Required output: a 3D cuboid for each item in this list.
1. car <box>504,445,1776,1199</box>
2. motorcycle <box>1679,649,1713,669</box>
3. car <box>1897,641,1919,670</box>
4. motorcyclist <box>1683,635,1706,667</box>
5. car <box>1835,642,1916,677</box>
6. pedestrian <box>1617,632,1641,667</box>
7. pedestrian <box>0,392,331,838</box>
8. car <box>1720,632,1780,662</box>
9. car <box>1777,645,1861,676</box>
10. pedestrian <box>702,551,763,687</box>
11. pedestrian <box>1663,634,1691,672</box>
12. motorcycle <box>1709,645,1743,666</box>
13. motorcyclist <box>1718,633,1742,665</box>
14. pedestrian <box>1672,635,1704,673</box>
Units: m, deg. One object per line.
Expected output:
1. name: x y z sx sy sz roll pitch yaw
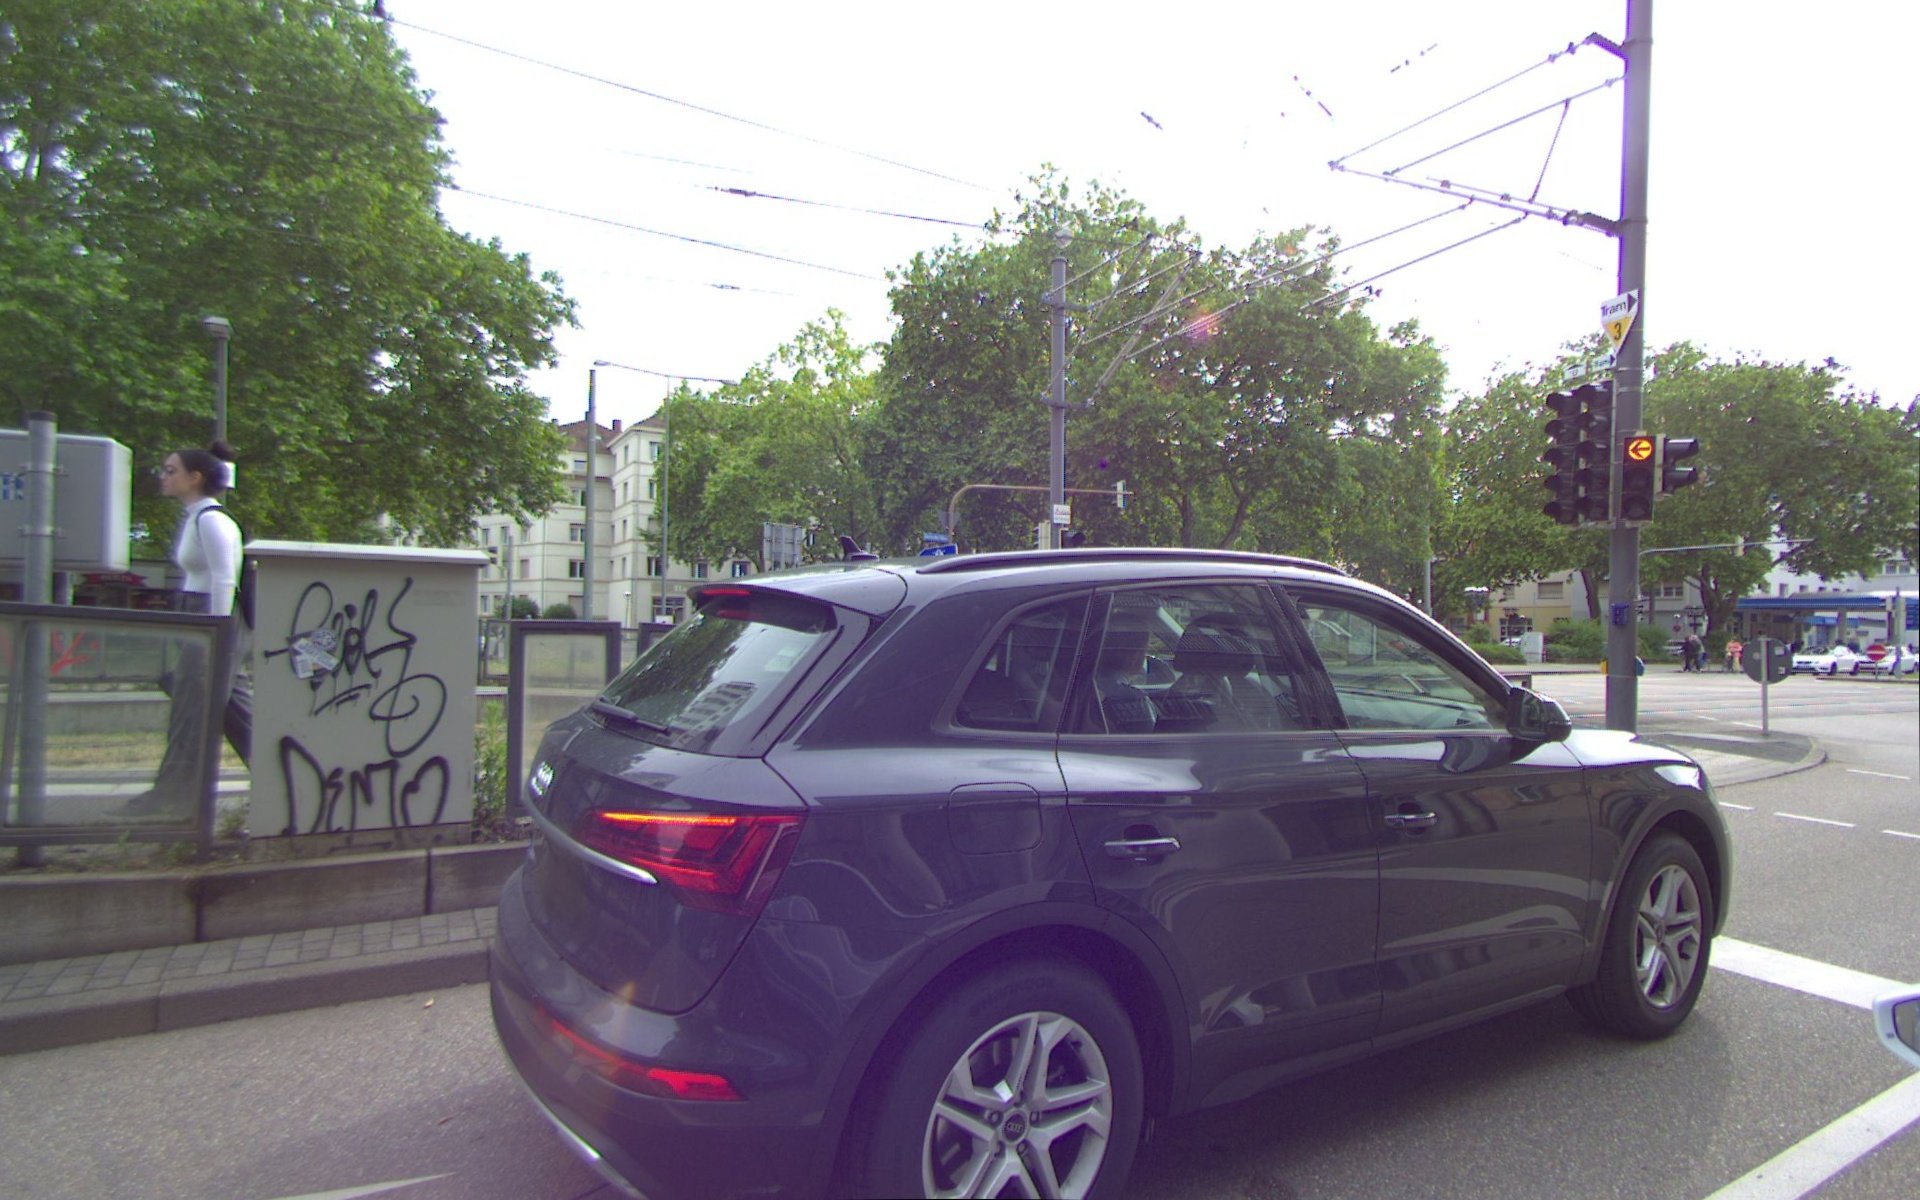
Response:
1. car: 0.816 0.626 3.453 4.177 1.658 1.725 2 0 -30
2. motorcycle: 35.935 2.865 49.022 1.928 0.941 0.604 2 -1 -30
3. car: 52.772 3.037 54.597 3.593 1.497 1.649 2 0 -29
4. motorcyclist: 35.794 2.486 48.939 0.863 1.540 0.617 2 -1 -30
5. car: 46.968 3.025 51.515 3.953 1.615 1.984 2 0 -30
6. pedestrian: 33.292 2.447 49.966 0.732 1.713 0.681 2 0 -25
7. pedestrian: -3.362 0.068 4.361 0.967 1.692 0.716 2 0 -27
8. car: 54.569 3.238 69.359 3.953 2.040 1.984 2 -1 -30
9. car: 41.343 2.911 48.316 4.025 1.338 1.739 2 0 -29
10. pedestrian: -3.423 0.277 15.093 0.658 1.976 0.732 2 0 -30
11. pedestrian: 33.268 2.465 46.602 0.682 1.735 0.864 1 -1 -26
12. motorcycle: 36.919 2.671 48.427 1.928 0.941 0.604 2 -1 -30
13. motorcyclist: 37.225 2.370 48.565 0.863 1.540 0.617 2 -1 -30
14. pedestrian: 33.944 2.522 46.810 0.862 1.735 0.871 1 -1 -18
